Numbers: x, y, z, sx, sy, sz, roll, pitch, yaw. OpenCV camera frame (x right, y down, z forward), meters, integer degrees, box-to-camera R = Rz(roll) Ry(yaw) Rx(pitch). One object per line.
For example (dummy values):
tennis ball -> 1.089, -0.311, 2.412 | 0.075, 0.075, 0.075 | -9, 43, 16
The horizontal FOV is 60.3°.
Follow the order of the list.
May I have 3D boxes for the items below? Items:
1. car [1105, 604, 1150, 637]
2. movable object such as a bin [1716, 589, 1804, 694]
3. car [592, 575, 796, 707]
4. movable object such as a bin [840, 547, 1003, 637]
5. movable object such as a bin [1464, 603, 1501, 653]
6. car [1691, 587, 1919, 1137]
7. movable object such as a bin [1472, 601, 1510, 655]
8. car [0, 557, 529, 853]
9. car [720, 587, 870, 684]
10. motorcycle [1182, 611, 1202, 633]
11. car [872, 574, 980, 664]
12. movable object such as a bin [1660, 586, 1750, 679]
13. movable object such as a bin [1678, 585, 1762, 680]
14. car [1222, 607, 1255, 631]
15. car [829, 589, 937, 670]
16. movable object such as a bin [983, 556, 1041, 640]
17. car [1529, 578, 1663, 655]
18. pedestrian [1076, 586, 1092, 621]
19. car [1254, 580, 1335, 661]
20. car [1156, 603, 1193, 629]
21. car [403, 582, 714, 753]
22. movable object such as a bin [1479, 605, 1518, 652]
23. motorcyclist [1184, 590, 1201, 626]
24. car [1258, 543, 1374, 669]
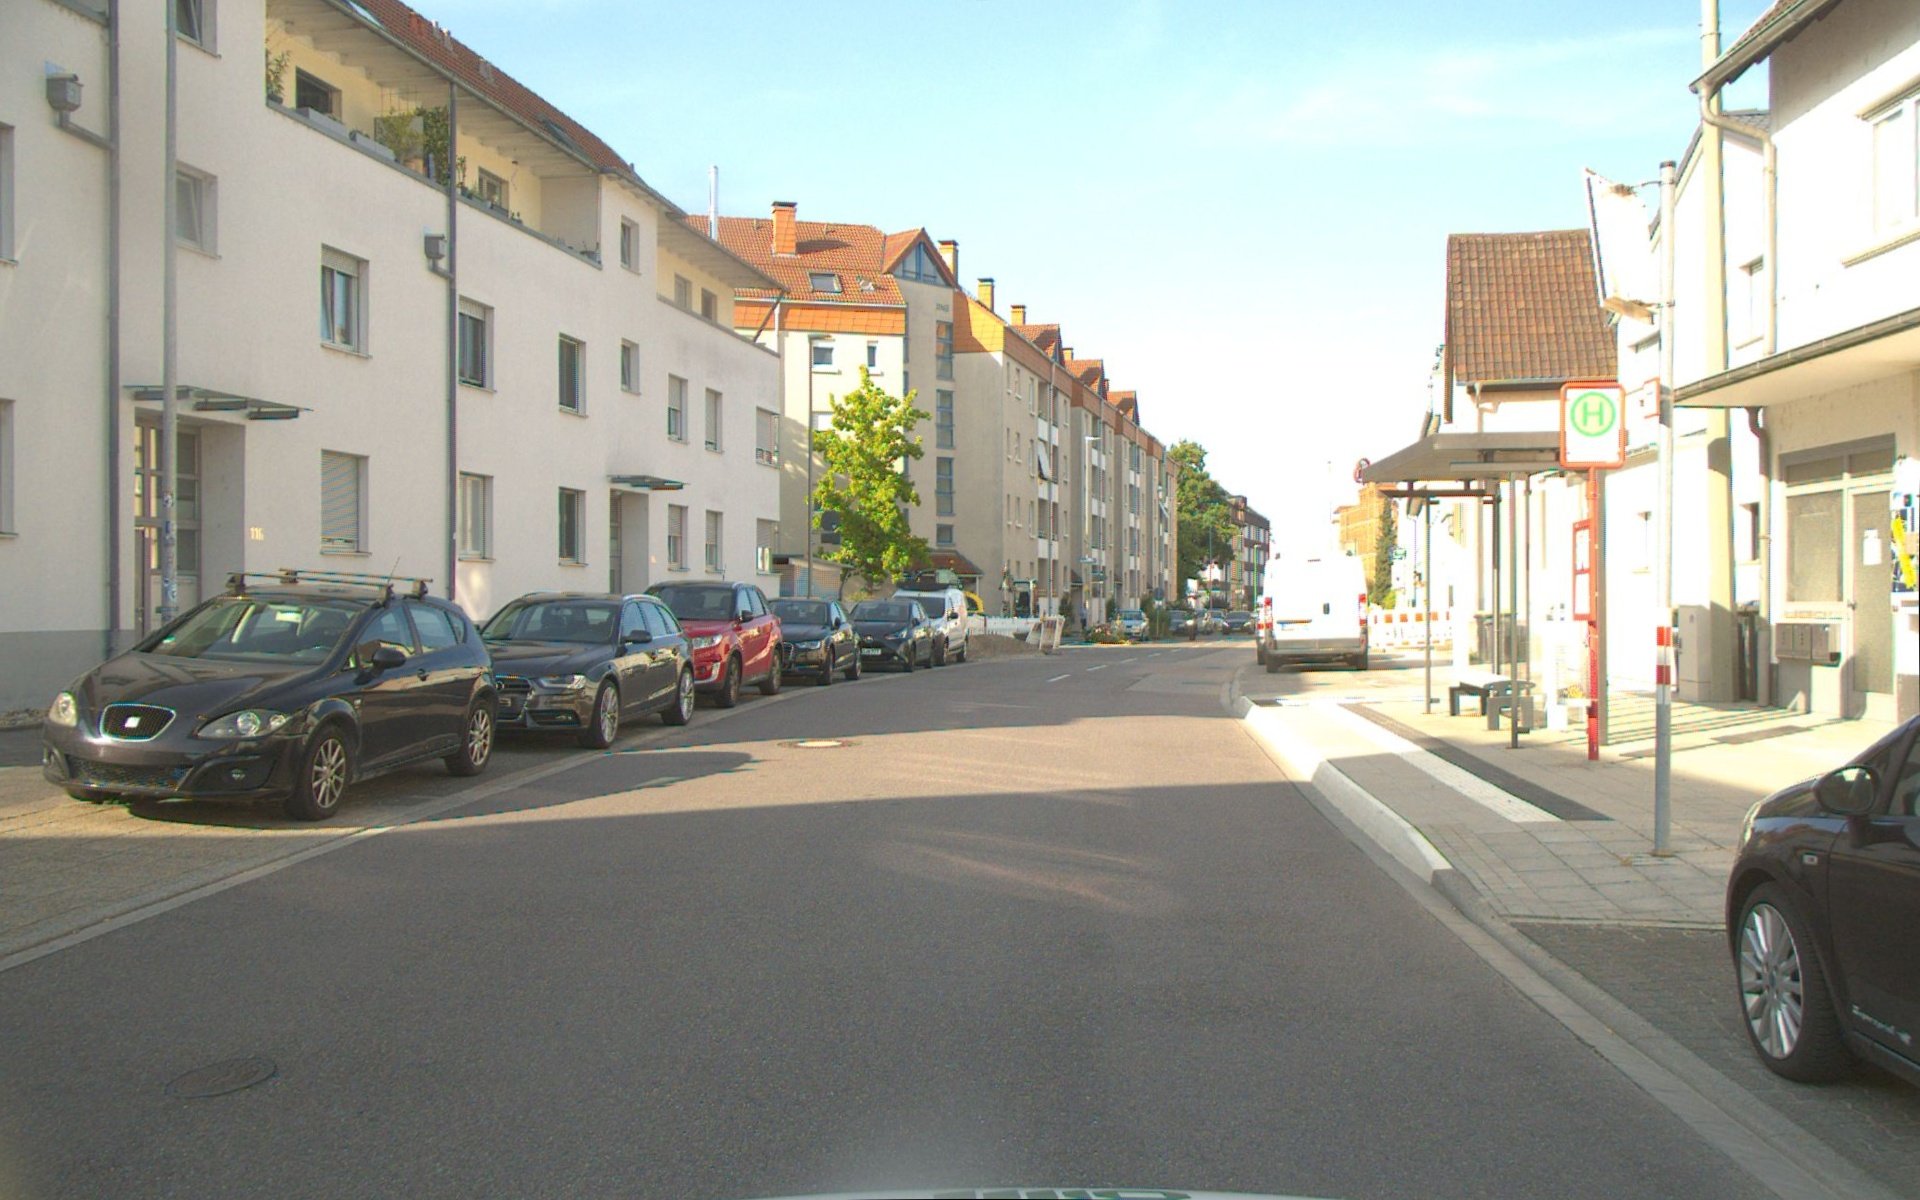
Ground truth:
car -> 7.617, 0.909, 74.994 | 1.605, 1.420, 3.674 | -1, 0, 12
movable object such as a bin -> 8.680, 0.445, 17.968 | 0.681, 1.112, 0.559 | -1, 0, 5
car -> -3.533, 0.493, 22.761 | 1.690, 1.650, 4.267 | 0, 0, 6
movable object such as a bin -> -1.301, -0.283, 56.163 | 5.385, 2.951, 2.111 | 1, 0, -1
movable object such as a bin -> 11.599, 0.613, 36.738 | 0.712, 1.112, 0.626 | 0, 0, 11
car -> 3.296, 0.698, 3.875 | 1.574, 1.446, 3.921 | 1, 0, 3
movable object such as a bin -> 11.391, 0.591, 35.491 | 0.712, 1.152, 0.554 | 0, 0, 11
car -> -4.739, 0.595, 11.866 | 1.738, 1.650, 4.181 | 3, 1, 6
car -> -2.726, 0.548, 28.184 | 1.690, 1.503, 4.266 | 1, 0, 6
motorcycle -> 10.830, 1.016, 77.161 | 0.752, 1.002, 2.201 | 1, 0, 11
car -> -0.750, 0.411, 39.400 | 1.690, 1.995, 4.442 | 1, 0, 11
movable object such as a bin -> 9.178, 0.396, 20.406 | 0.794, 1.112, 0.768 | -1, 0, 7
movable object such as a bin -> 9.084, 0.383, 19.790 | 0.794, 1.112, 0.443 | -1, 0, 7
car -> 17.061, 1.142, 101.157 | 1.791, 1.445, 4.212 | -1, 0, 13
car -> -1.541, 0.558, 34.141 | 1.461, 1.490, 3.517 | 4, 1, 9
movable object such as a bin -> 2.102, -0.111, 65.714 | 1.612, 3.193, 3.904 | 1, 1, 12
car -> 13.010, 0.314, 33.716 | 1.628, 1.432, 3.966 | -2, 0, 35
pedestrian -> 6.463, 0.178, 86.403 | 0.703, 1.850, 0.746 | 0, 0, 14
car -> 7.902, 0.448, 39.204 | 1.740, 1.771, 4.487 | -2, 0, 11
car -> 12.015, 0.890, 92.628 | 1.650, 1.430, 4.087 | 1, 0, 13
car -> -3.973, 0.596, 17.208 | 1.690, 1.503, 4.506 | 1, 0, 6
movable object such as a bin -> 11.163, 0.590, 34.310 | 0.712, 0.975, 0.554 | 0, 0, 11
motorcyclist -> 10.849, 0.370, 77.236 | 0.752, 1.681, 0.844 | 0, 0, 10
car -> 7.332, 0.113, 34.355 | 2.128, 2.368, 5.002 | -2, 0, 11
